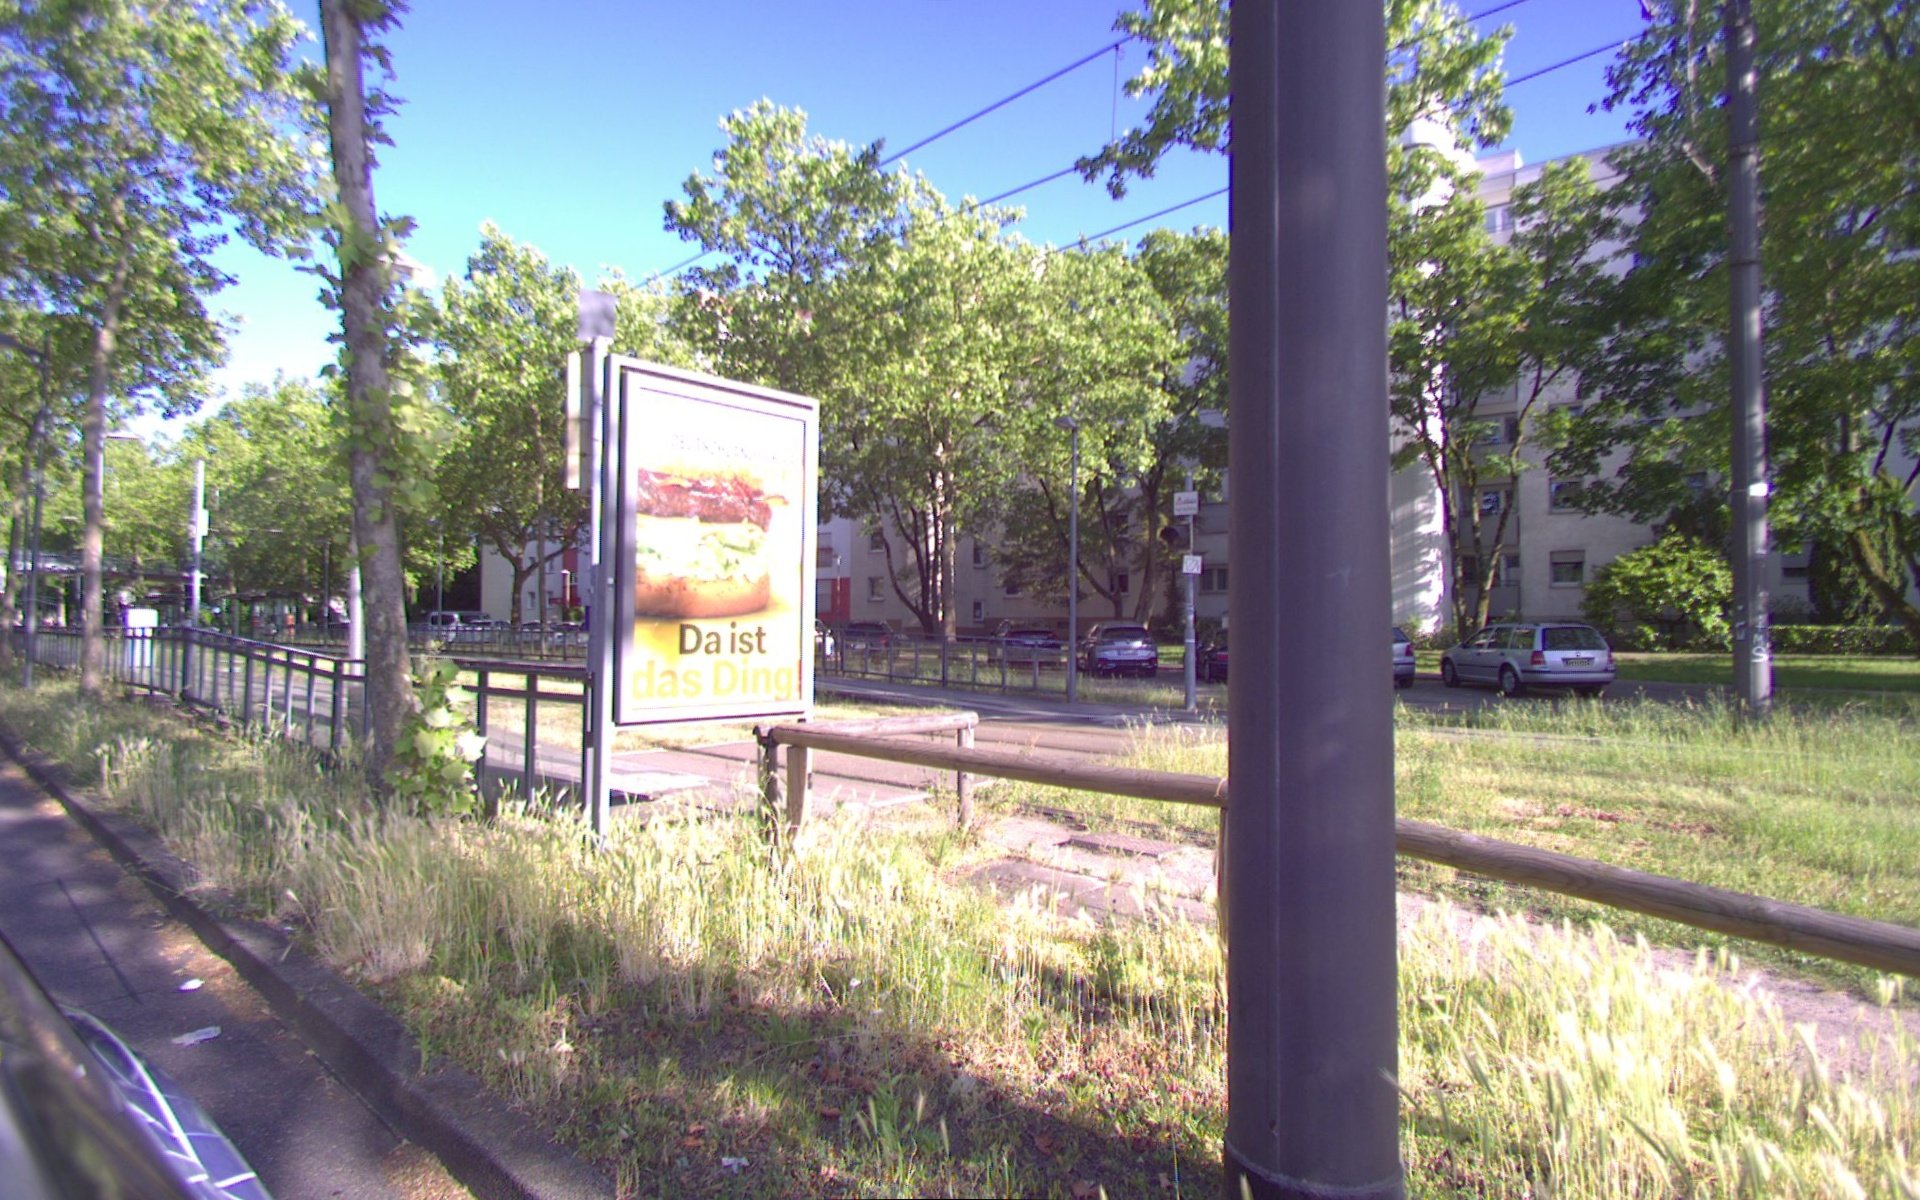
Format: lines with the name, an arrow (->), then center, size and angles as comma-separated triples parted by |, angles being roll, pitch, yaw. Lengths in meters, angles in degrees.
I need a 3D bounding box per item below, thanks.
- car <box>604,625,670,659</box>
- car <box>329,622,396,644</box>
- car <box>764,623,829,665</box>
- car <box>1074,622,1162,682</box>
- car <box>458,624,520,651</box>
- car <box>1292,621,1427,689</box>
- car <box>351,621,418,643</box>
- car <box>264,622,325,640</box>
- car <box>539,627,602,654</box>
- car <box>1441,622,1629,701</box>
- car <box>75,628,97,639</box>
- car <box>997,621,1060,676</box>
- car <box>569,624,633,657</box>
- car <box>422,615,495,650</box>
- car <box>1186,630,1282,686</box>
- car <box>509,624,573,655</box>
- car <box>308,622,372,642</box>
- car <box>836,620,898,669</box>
car -> -14.081, 1.820, 44.281 | 1.627, 1.403, 3.679 | 0, -1, 2
car -> -40.279, 2.204, 68.393 | 1.898, 1.386, 4.365 | 0, -1, 1
car -> -5.908, 1.572, 36.918 | 1.664, 1.444, 3.679 | 0, -1, 2
car -> 4.208, 1.347, 27.492 | 1.894, 1.507, 3.680 | 0, -1, 2
car -> -25.795, 2.036, 55.520 | 1.627, 1.407, 3.680 | 0, -1, 1
car -> 9.154, 1.221, 23.526 | 1.679, 1.444, 3.681 | 0, -1, 1
car -> -37.803, 2.076, 66.590 | 1.898, 1.386, 4.365 | 0, -1, 1
car -> -52.142, 2.404, 79.367 | 1.898, 1.386, 4.365 | 0, -1, 1
car -> -19.044, 1.981, 49.667 | 1.627, 1.251, 3.680 | 0, -1, 1
car -> 11.548, 1.178, 20.627 | 1.707, 1.444, 3.681 | 0, -1, 1
car -> -109.140, 4.131, 126.400 | 3.294, 1.370, 1.651 | -1, -2, 41
car -> 1.935, 1.369, 29.445 | 1.664, 1.482, 3.680 | 0, -1, 1
car -> -16.680, 1.843, 47.137 | 1.627, 1.460, 3.680 | 0, -1, 1
car -> -28.324, 1.827, 57.329 | 1.898, 1.898, 4.365 | 0, -1, 1
car -> 6.730, 1.402, 25.206 | 1.602, 1.256, 3.677 | 0, -1, 4
car -> -21.121, 1.960, 51.135 | 1.627, 1.460, 3.680 | 0, -1, 1
car -> -44.641, 2.282, 72.987 | 1.898, 1.386, 4.365 | 0, -1, 1
car -> -3.106, 1.459, 34.468 | 1.664, 1.579, 3.679 | 0, -1, 2
